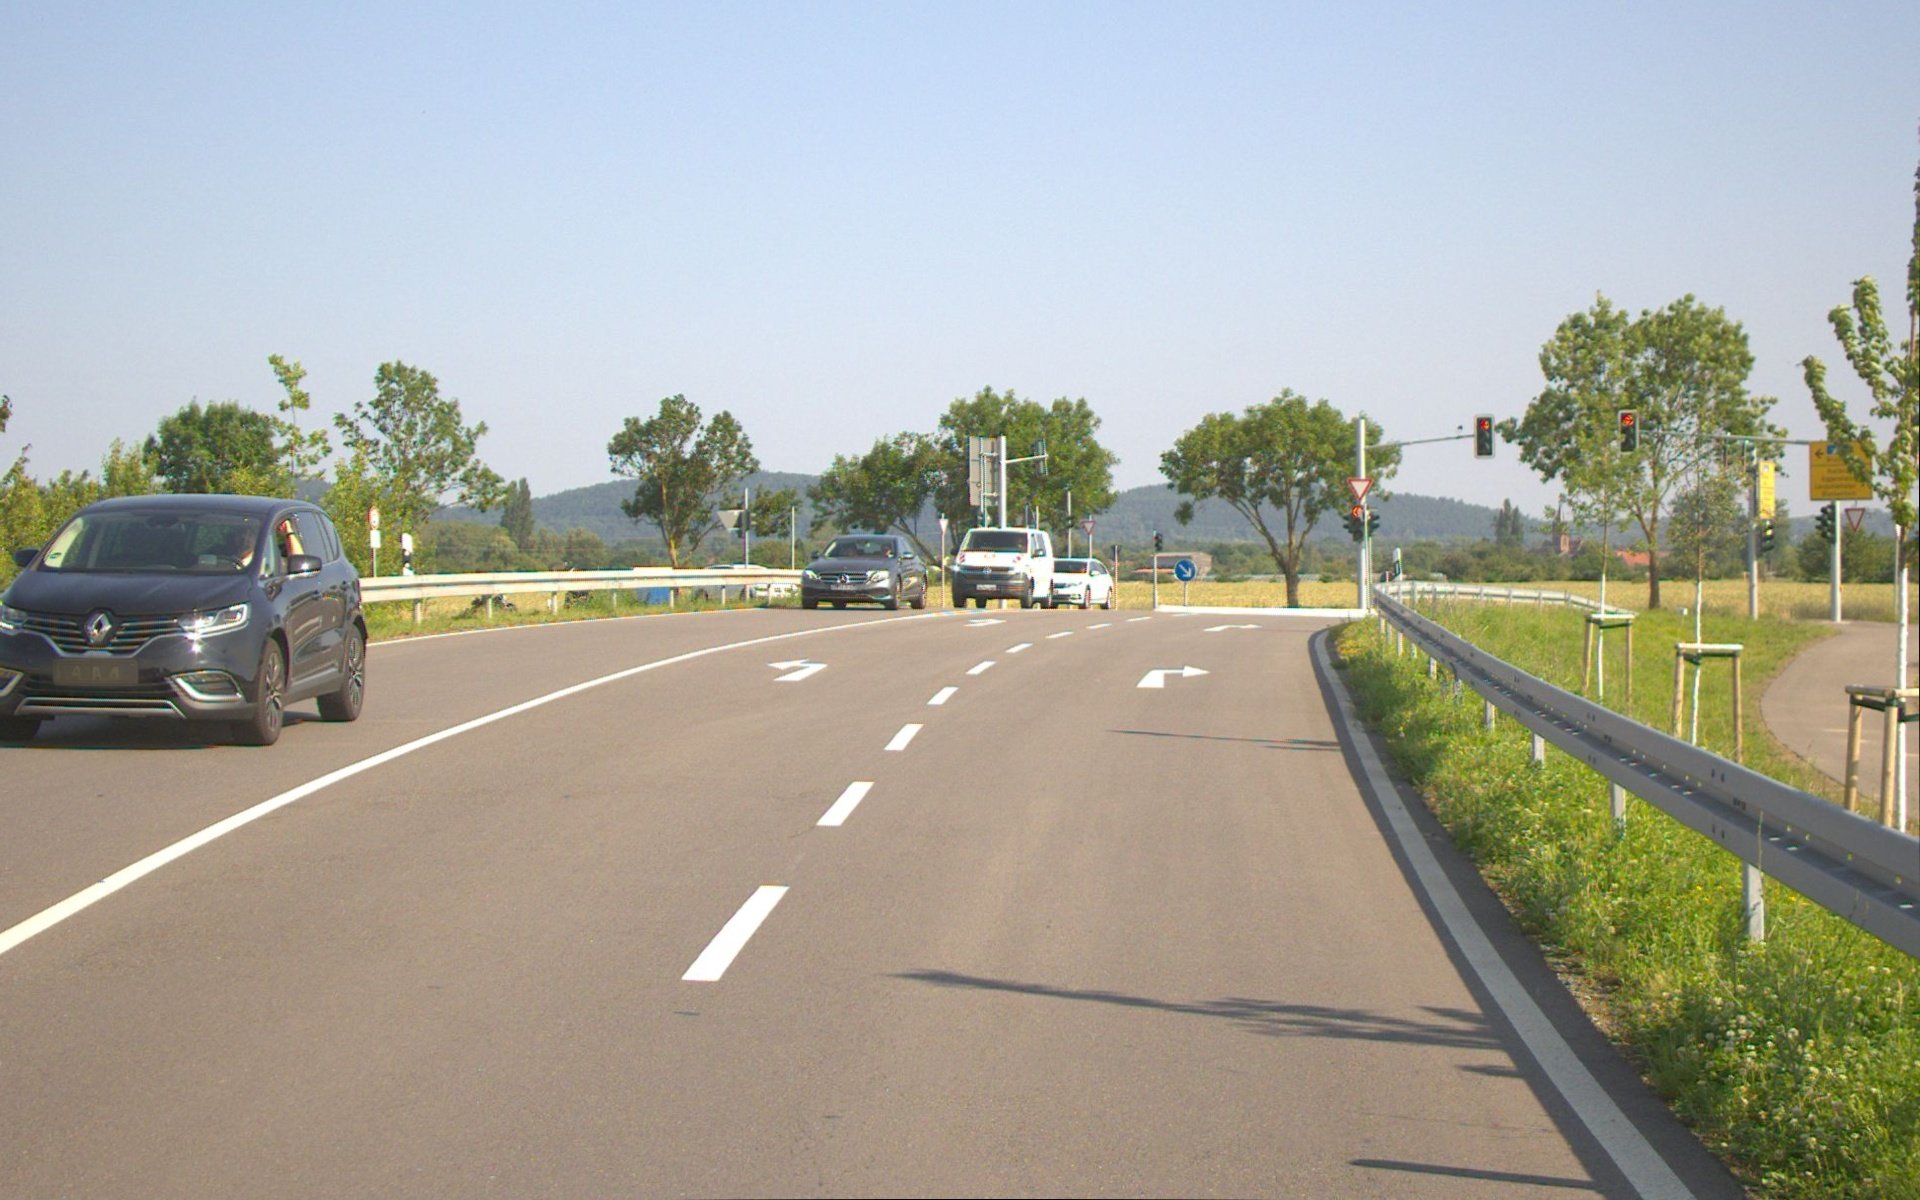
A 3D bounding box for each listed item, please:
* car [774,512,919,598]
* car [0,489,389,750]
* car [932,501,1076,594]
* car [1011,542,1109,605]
[{"bbox_3d":[-2.153,-0.900,66.792,1.795,1.443,4.704,2,3,11],"label":"car"},{"bbox_3d":[-5.426,0.061,24.092,1.993,1.587,4.863,2,1,0],"label":"car"},{"bbox_3d":[1.108,-1.307,83.001,2.116,2.006,5.150,3,3,16],"label":"car"},{"bbox_3d":[2.858,-0.767,96.861,2.115,1.488,5.152,2,3,9],"label":"car"}]
